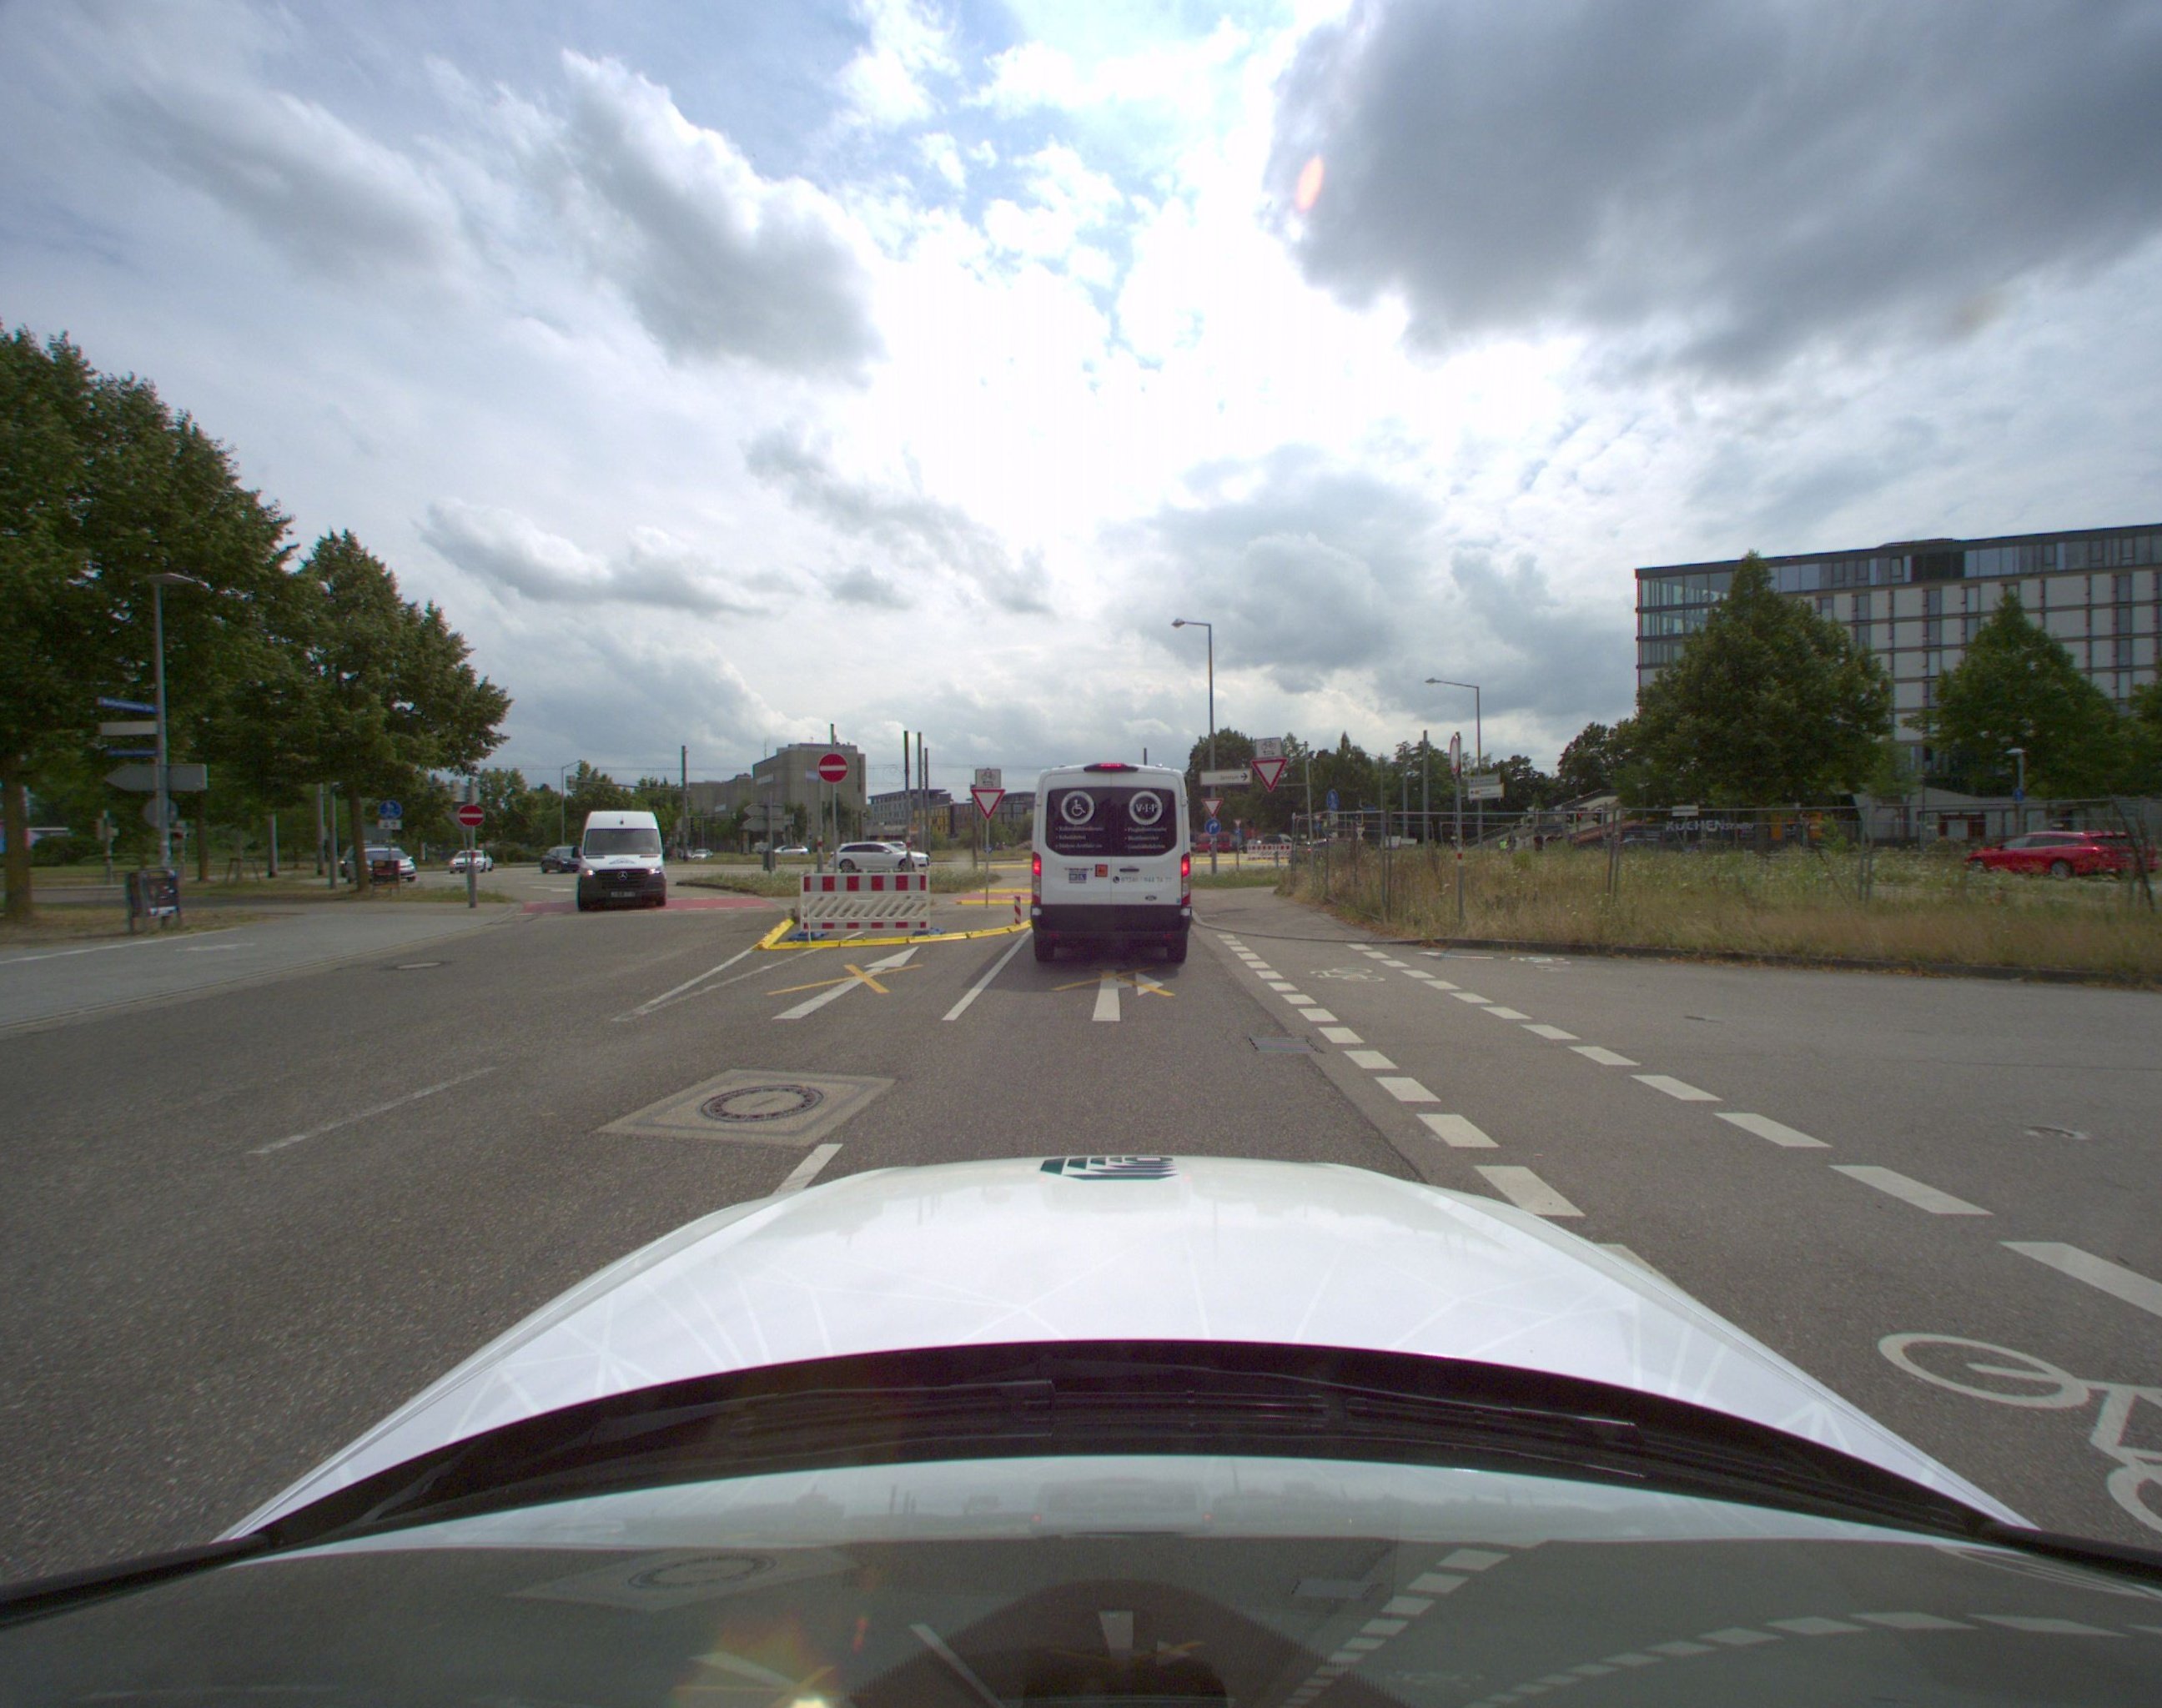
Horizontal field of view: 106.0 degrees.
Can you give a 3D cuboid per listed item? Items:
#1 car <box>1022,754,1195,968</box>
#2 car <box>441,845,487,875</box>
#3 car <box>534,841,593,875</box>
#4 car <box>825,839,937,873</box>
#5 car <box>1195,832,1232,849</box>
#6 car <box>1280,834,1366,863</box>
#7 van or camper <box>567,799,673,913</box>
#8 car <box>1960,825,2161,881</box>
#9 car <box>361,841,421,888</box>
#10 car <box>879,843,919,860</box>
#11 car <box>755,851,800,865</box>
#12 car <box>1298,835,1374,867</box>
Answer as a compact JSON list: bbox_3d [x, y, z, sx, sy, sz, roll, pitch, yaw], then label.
[{"bbox_3d":[0.418,0.062,11.662,2.054,2.539,4.003,0,0,3],"label":"car"},{"bbox_3d":[-39.340,0.341,52.012,1.773,1.771,3.962,-3,1,-29],"label":"car"},{"bbox_3d":[-29.077,0.221,45.698,2.012,1.771,3.951,-4,2,-43],"label":"car"},{"bbox_3d":[-9.768,0.064,40.047,5.009,1.578,1.865,0,1,1],"label":"car"},{"bbox_3d":[14.331,-1.449,88.427,2.013,1.816,4.383,-3,1,-20],"label":"car"},{"bbox_3d":[12.891,-0.307,43.366,4.361,1.354,1.610,-3,1,-23],"label":"car"},{"bbox_3d":[-12.790,-0.009,22.893,2.162,2.725,6.222,-3,2,-27],"label":"van or camper"},{"bbox_3d":[29.953,-0.059,24.986,1.776,1.562,4.454,-1,1,11],"label":"car"},{"bbox_3d":[-32.586,0.465,38.441,2.011,2.013,3.952,-3,2,-41],"label":"car"},{"bbox_3d":[-20.785,-0.324,92.893,4.016,1.771,1.749,-3,1,-33],"label":"car"},{"bbox_3d":[-31.309,0.377,84.041,4.020,1.192,1.666,-4,2,-39],"label":"car"},{"bbox_3d":[15.205,-0.209,48.647,4.000,1.661,1.878,-3,1,-20],"label":"car"}]
